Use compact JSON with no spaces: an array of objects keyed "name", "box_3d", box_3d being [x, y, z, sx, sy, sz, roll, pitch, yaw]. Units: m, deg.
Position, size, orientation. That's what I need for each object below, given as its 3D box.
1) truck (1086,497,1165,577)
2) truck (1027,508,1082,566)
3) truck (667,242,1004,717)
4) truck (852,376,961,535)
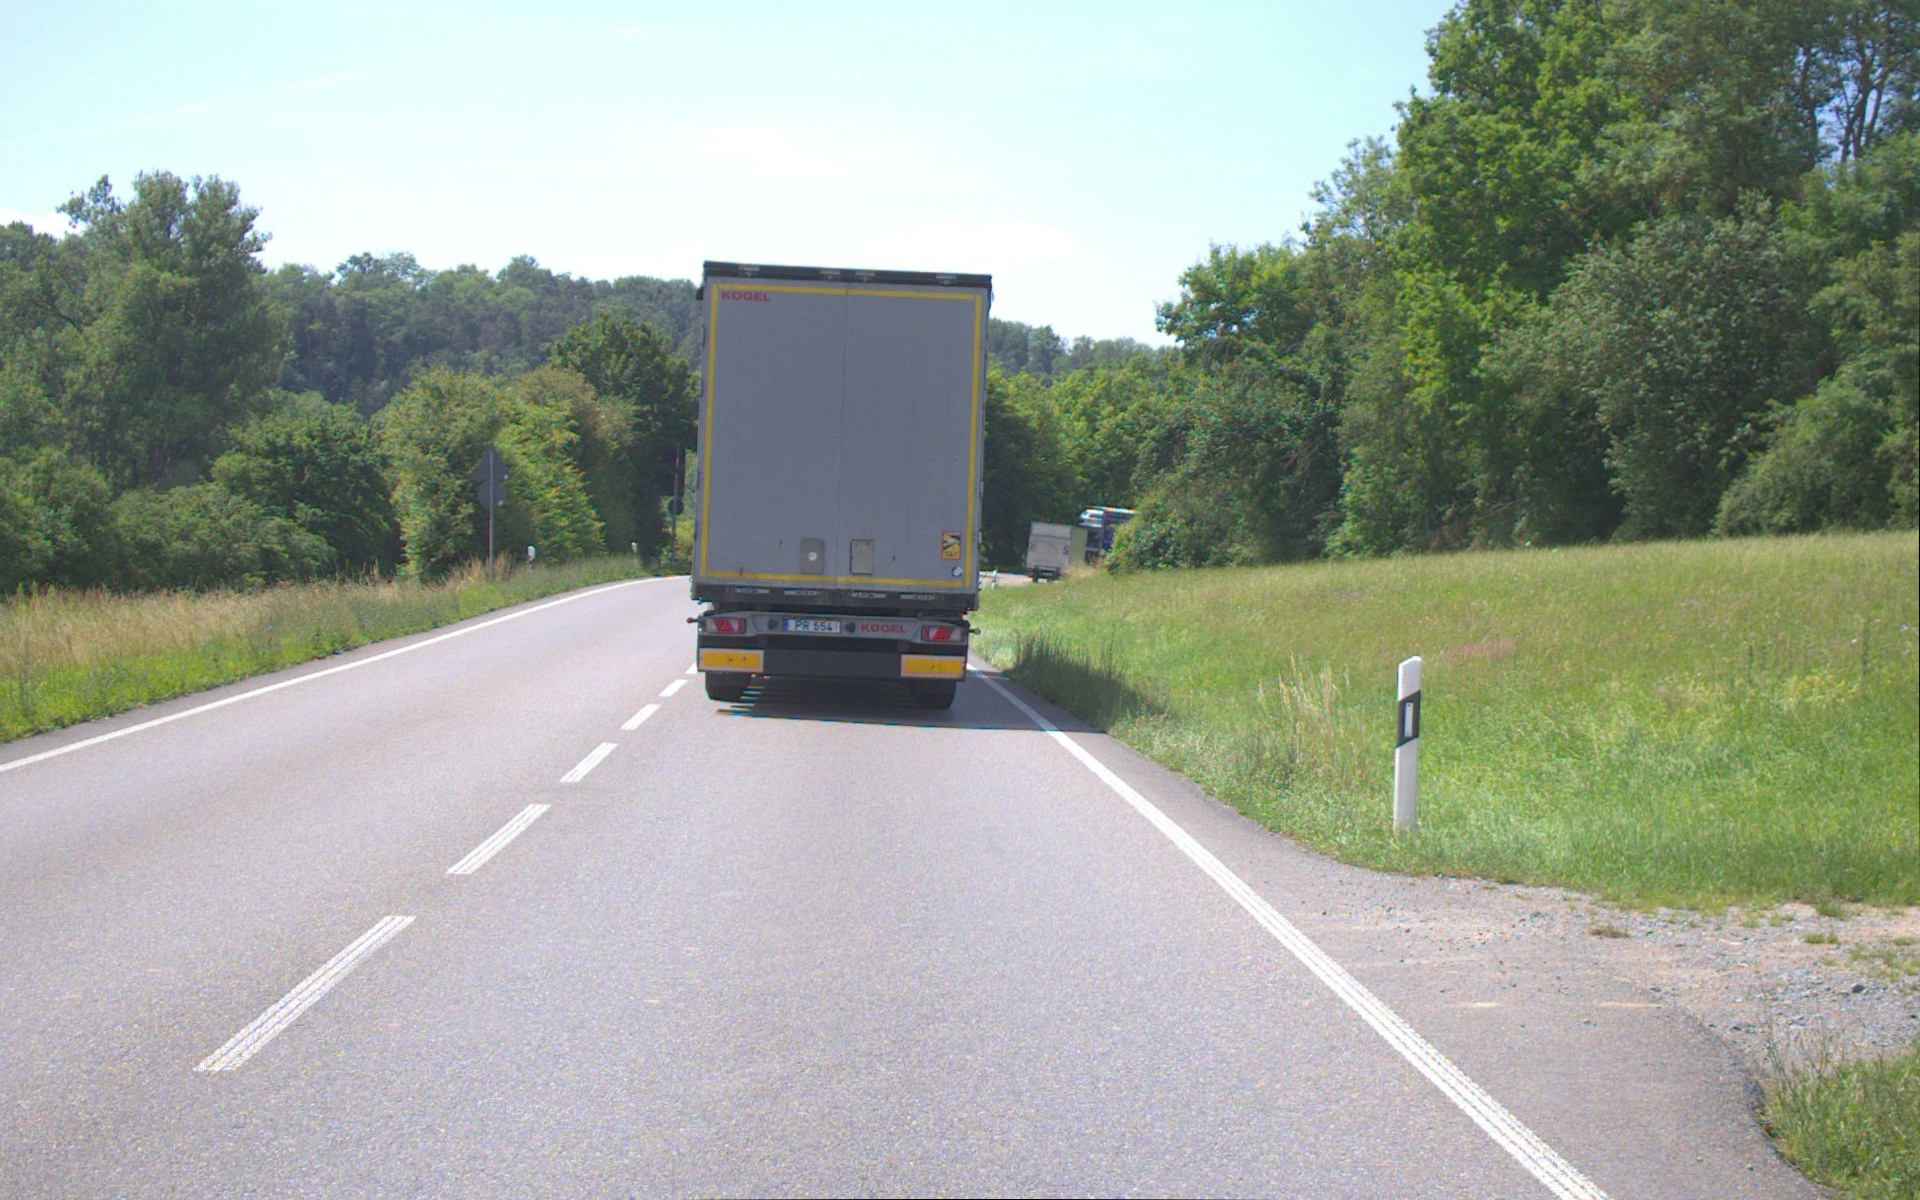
[{"name":"truck","box_3d":[9.522,-3.529,196.187,3.305,4.371,13.407,0,0,8]},{"name":"truck","box_3d":[4.763,-3.180,172.976,2.355,2.816,5.057,-1,1,6]},{"name":"truck","box_3d":[-1.481,-1.161,37.738,2.801,4.055,15.327,2,1,-3]},{"name":"truck","box_3d":[-1.760,-4.739,111.993,3.105,4.689,16.592,2,3,-1]}]
